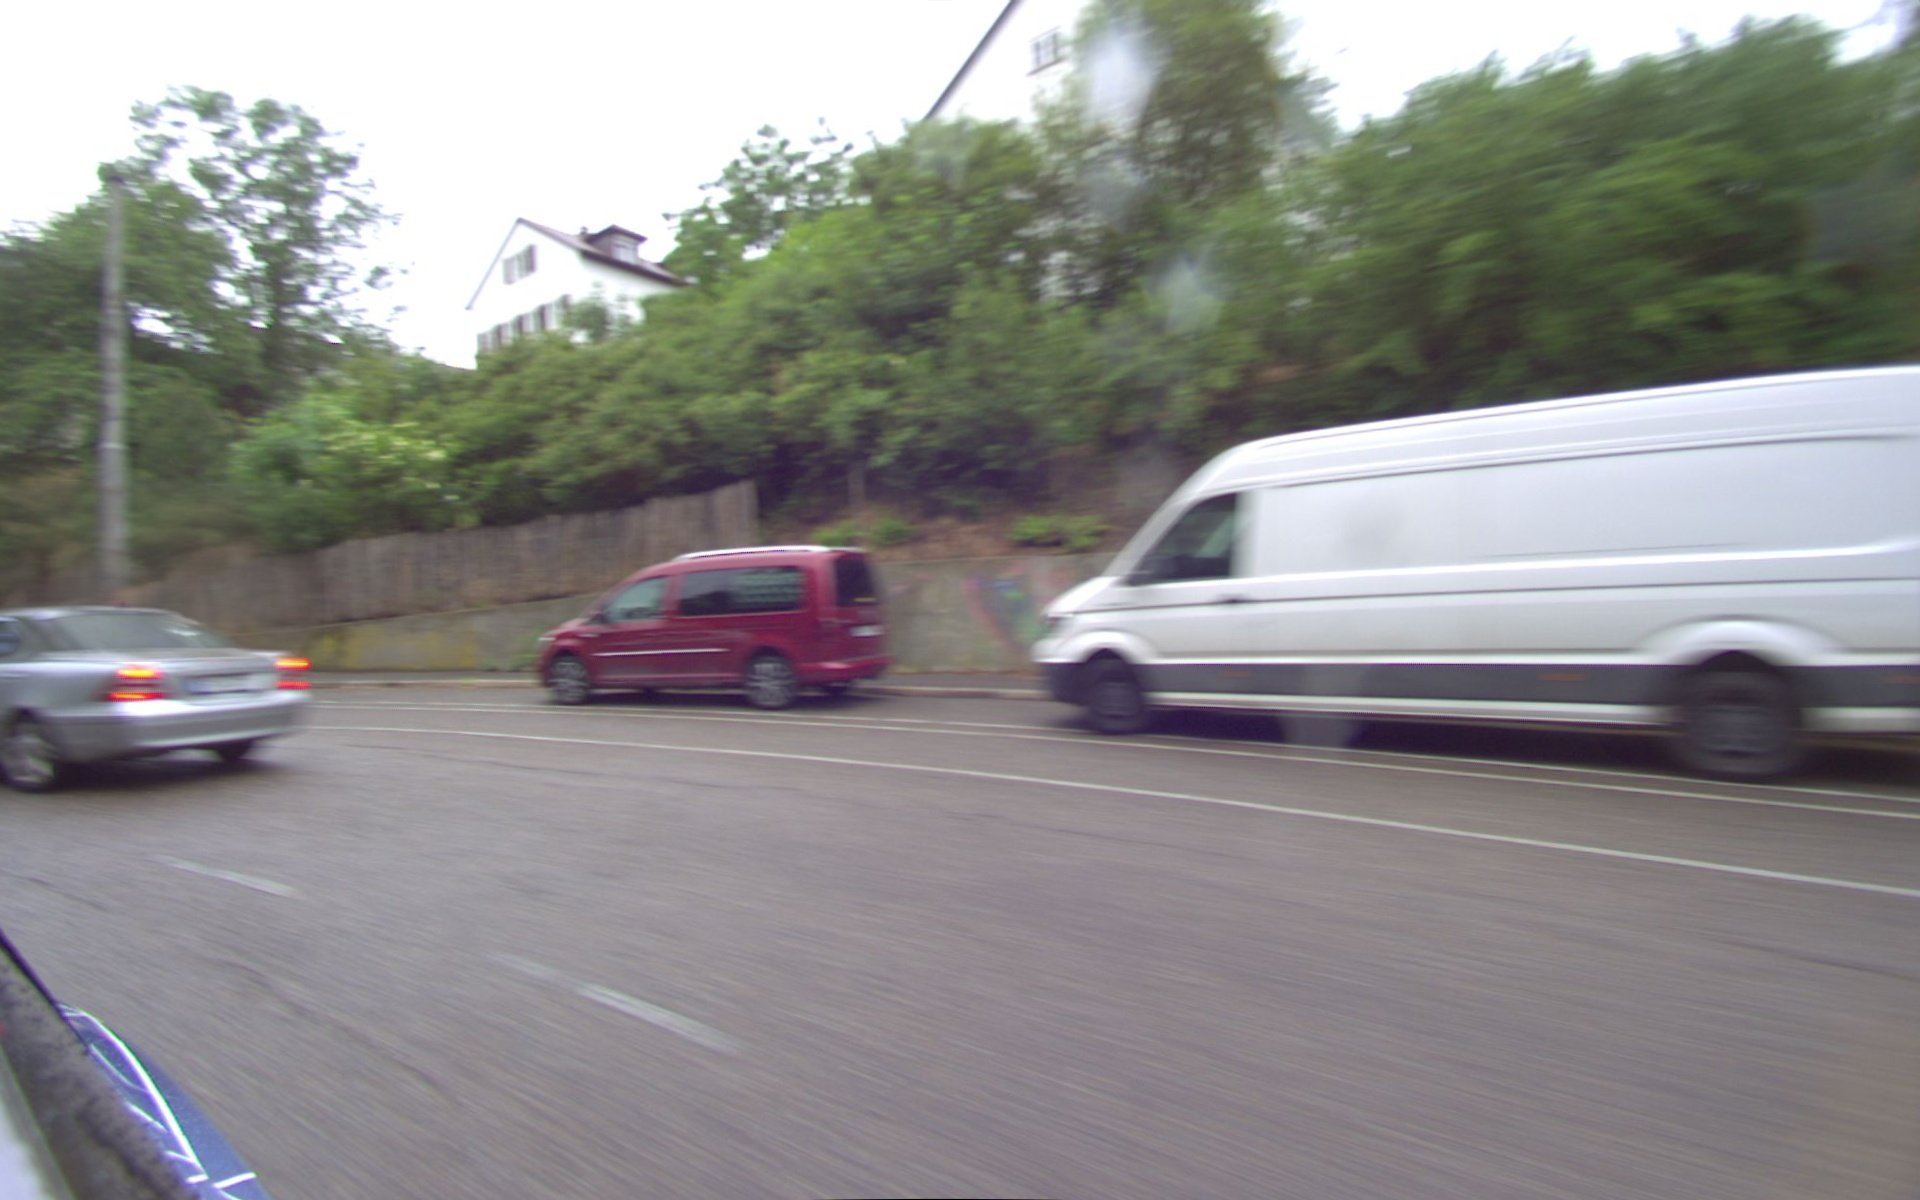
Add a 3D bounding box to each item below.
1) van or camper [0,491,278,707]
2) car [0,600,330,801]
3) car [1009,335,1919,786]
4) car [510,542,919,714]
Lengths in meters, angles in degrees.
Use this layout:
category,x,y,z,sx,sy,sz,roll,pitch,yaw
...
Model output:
category,x,y,z,sx,sy,sz,roll,pitch,yaw
van or camper,-14.862,0.011,15.501,7.430,2.989,2.455,0,0,5
car,-7.757,0.732,8.637,4.305,1.396,1.779,-1,0,20
car,3.808,-0.197,8.226,6.811,2.549,2.016,-1,1,37
car,-3.124,0.331,12.924,4.787,1.890,1.986,-1,1,21
